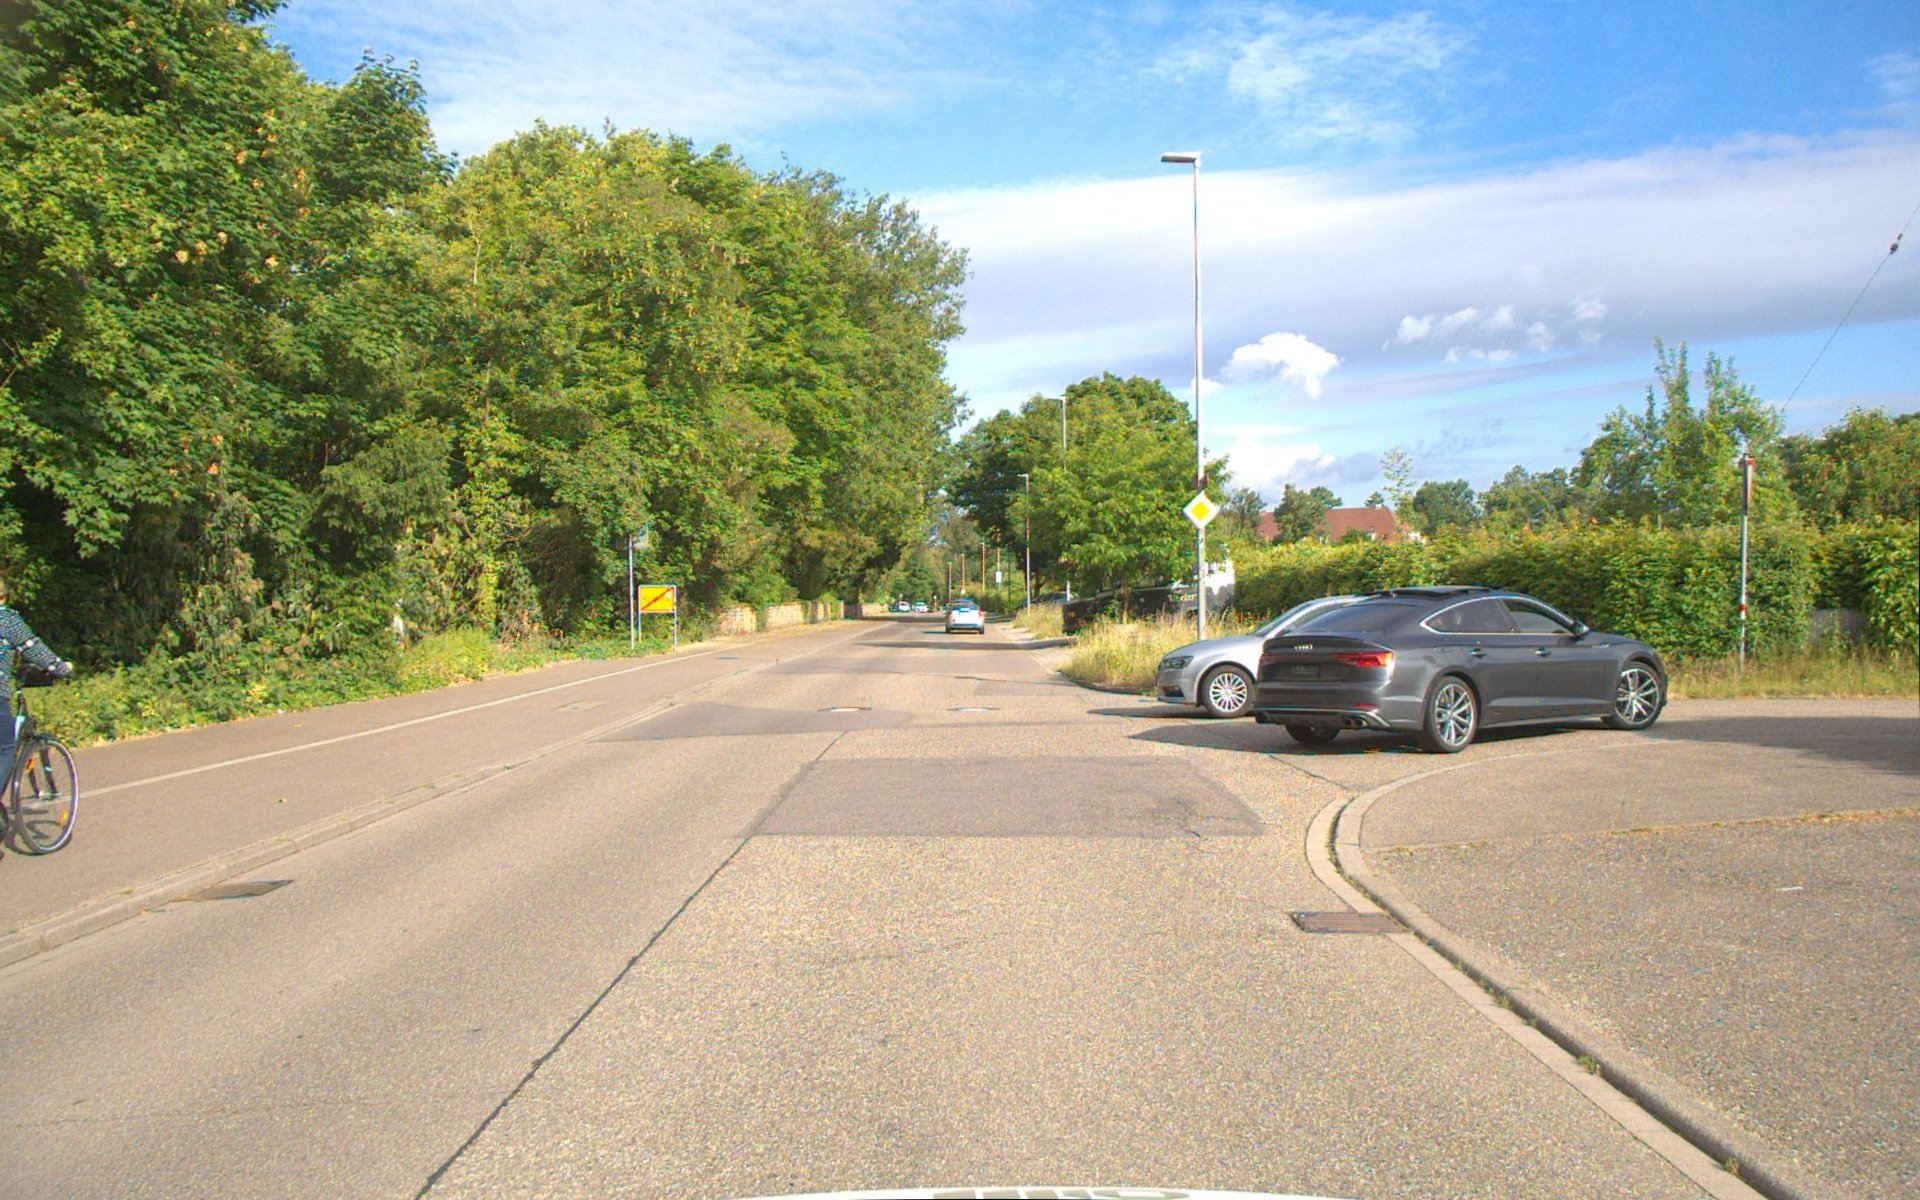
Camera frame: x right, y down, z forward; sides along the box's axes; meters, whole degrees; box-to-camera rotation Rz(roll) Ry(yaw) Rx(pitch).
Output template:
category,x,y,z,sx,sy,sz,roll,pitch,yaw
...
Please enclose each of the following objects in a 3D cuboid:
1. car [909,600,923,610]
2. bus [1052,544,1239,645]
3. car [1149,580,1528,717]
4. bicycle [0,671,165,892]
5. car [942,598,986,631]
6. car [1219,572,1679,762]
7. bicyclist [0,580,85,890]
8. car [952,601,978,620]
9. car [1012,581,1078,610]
category,x,y,z,sx,sy,sz,roll,pitch,yaw
car,-6.330,0.735,237.302,1.849,1.396,4.052,-1,0,-2
bus,5.541,-0.166,49.813,5.258,2.794,2.067,-2,0,-3
car,4.469,0.576,20.125,4.269,1.468,1.934,-2,-1,6
bicycle,-5.581,1.036,9.711,0.649,1.116,2.348,1,0,0
car,0.155,0.613,71.952,1.848,1.396,4.053,-1,0,-1
car,4.679,0.543,15.597,4.287,1.459,1.948,-2,0,-36
bicyclist,-5.565,0.736,9.493,0.596,1.706,0.884,1,0,0
car,0.363,0.766,124.937,1.848,1.396,4.053,-1,0,-1
car,5.693,-0.304,111.556,4.313,1.675,2.000,-3,0,0
